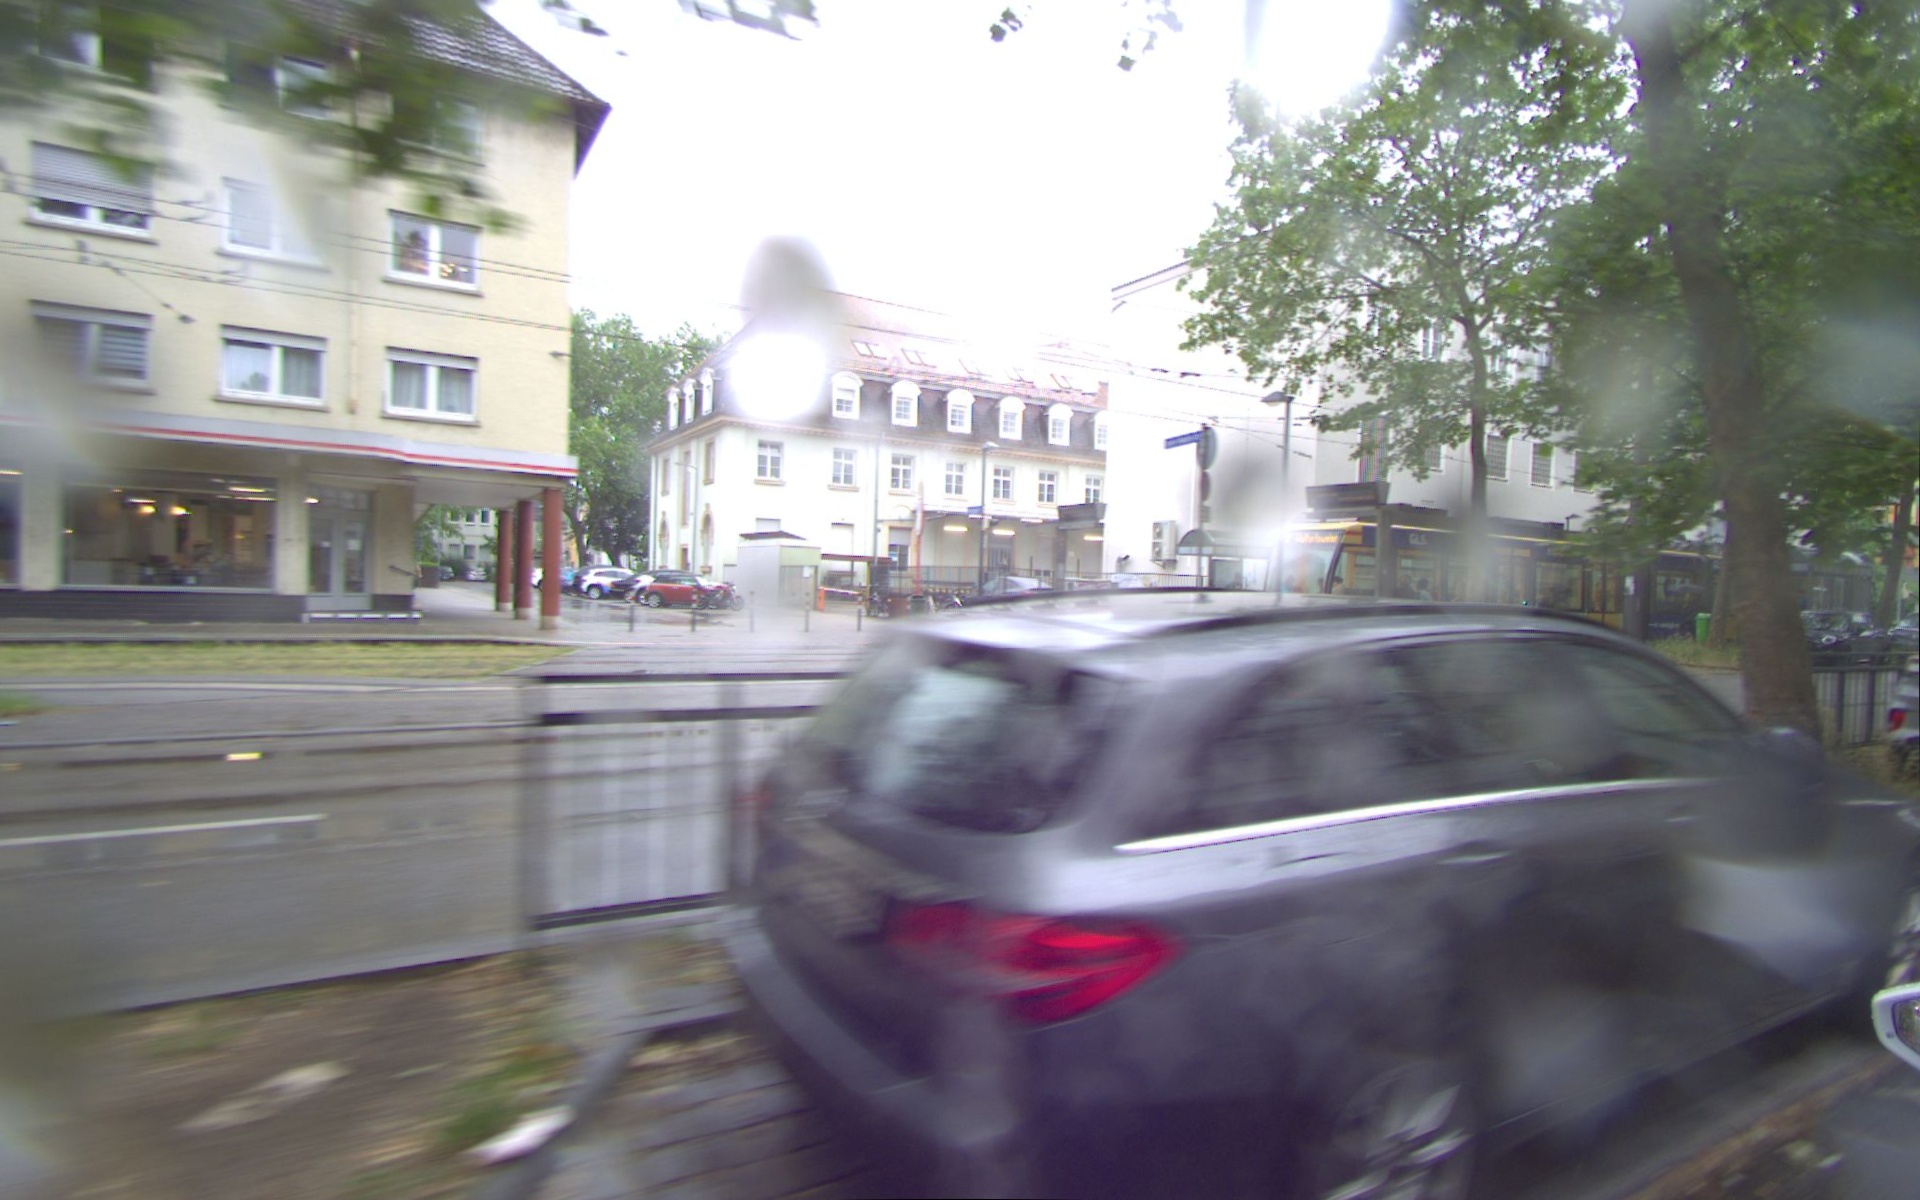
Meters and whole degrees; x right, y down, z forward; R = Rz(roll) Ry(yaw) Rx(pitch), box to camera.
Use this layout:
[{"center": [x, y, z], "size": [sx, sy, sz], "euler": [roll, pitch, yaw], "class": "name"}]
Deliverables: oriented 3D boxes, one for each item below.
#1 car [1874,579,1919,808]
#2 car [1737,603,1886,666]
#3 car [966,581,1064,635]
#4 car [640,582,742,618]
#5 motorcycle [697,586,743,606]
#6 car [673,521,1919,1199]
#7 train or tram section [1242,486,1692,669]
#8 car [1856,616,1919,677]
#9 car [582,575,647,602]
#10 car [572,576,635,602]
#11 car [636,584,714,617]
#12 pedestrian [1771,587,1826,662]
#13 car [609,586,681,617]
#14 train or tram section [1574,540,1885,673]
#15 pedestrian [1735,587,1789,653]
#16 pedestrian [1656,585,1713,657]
[{"center": [9.132, 0.749, 7.805], "size": [4.302, 1.657, 1.691], "euler": [2, 1, -29], "class": "car"}, {"center": [21.585, 0.862, 25.451], "size": [3.713, 1.361, 1.729], "euler": [1, 4, -31], "class": "car"}, {"center": [1.734, 0.234, 32.651], "size": [1.589, 1.562, 3.664], "euler": [1, 2, -26], "class": "car"}, {"center": [-10.971, 0.007, 41.041], "size": [3.778, 1.242, 1.345], "euler": [3, 3, -2], "class": "car"}, {"center": [-9.414, -0.170, 39.382], "size": [1.642, 0.719, 0.521], "euler": [2, 0, -2], "class": "motorcycle"}, {"center": [1.582, 0.670, 3.374], "size": [4.561, 1.524, 1.819], "euler": [2, 2, -31], "class": "car"}, {"center": [13.540, -0.232, 25.724], "size": [14.415, 3.605, 3.089], "euler": [3, 0, -32], "class": "train or tram section"}, {"center": [28.404, 1.360, 29.514], "size": [3.955, 1.634, 1.983], "euler": [1, 1, -31], "class": "car"}, {"center": [-17.934, -0.583, 52.152], "size": [2.970, 1.242, 1.343], "euler": [2, 3, -10], "class": "car"}, {"center": [-19.202, -0.603, 54.225], "size": [2.970, 1.242, 1.343], "euler": [2, 3, -10], "class": "car"}, {"center": [-12.377, -0.002, 43.689], "size": [2.966, 1.242, 1.345], "euler": [3, 3, -2], "class": "car"}, {"center": [23.565, 0.687, 28.231], "size": [0.810, 2.041, 0.866], "euler": [1, 2, -27], "class": "pedestrian"}, {"center": [-14.764, 0.053, 47.153], "size": [2.966, 1.242, 1.345], "euler": [3, 3, -2], "class": "car"}, {"center": [25.884, 0.418, 33.277], "size": [14.511, 3.605, 3.089], "euler": [3, 0, -32], "class": "train or tram section"}, {"center": [21.585, 0.533, 27.037], "size": [0.862, 1.726, 0.813], "euler": [1, 2, -31], "class": "pedestrian"}, {"center": [17.881, 0.506, 24.795], "size": [0.862, 1.726, 0.813], "euler": [1, 2, -31], "class": "pedestrian"}]
